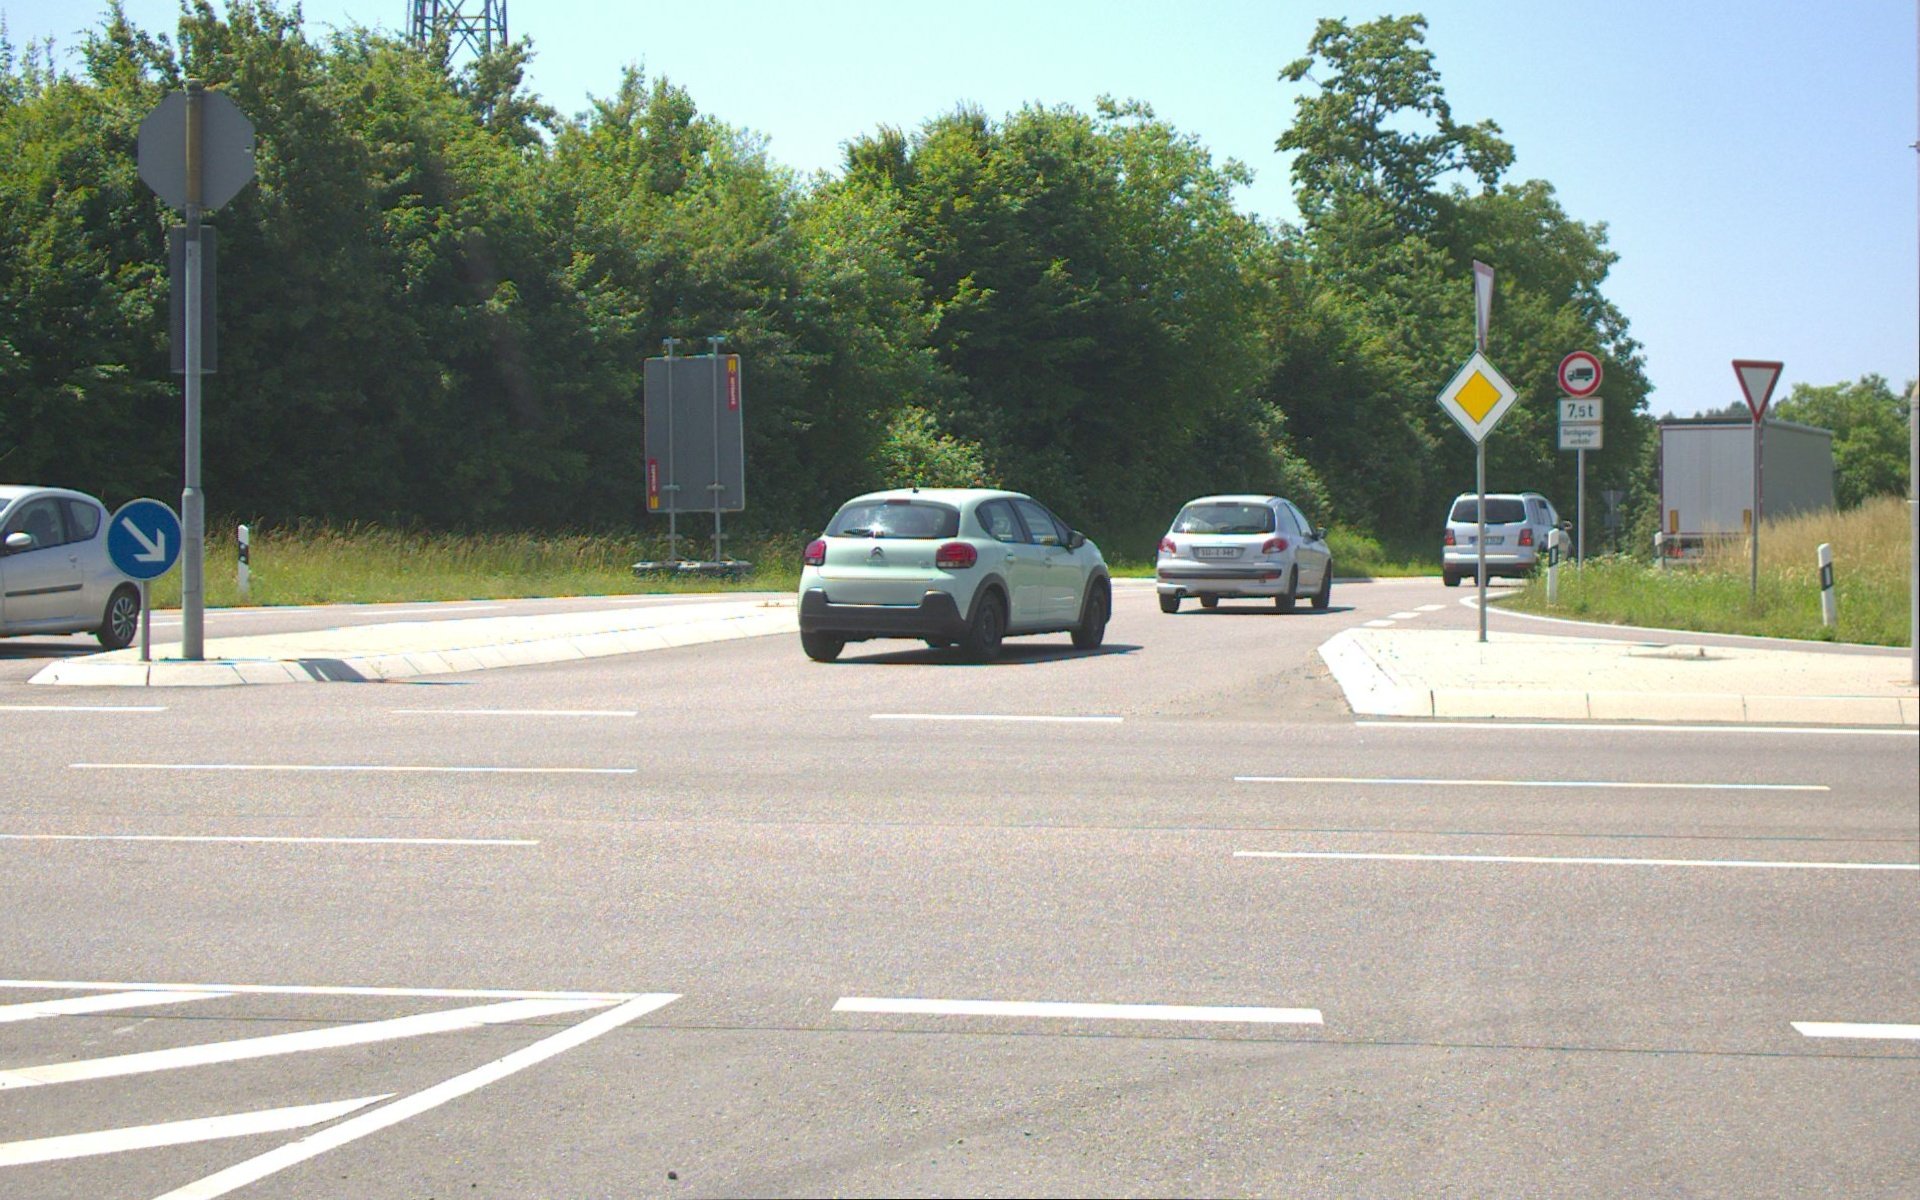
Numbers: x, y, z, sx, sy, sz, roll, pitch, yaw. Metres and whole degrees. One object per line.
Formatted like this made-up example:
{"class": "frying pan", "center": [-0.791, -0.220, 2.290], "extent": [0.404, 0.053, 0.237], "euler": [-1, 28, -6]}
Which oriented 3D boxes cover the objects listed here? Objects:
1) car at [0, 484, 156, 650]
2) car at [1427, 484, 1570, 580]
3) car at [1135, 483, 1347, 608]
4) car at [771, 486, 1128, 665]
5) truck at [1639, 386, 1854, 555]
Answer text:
{"class": "car", "center": [-8.631, -0.306, 29.975], "extent": [1.566, 1.366, 3.528], "euler": [1, 3, 18]}
{"class": "car", "center": [9.701, -1.243, 61.694], "extent": [1.814, 1.619, 4.056], "euler": [0, 3, 20]}
{"class": "car", "center": [3.502, -0.709, 42.280], "extent": [1.814, 1.408, 3.781], "euler": [1, 3, 17]}
{"class": "car", "center": [-0.017, -0.272, 30.490], "extent": [1.731, 1.399, 3.982], "euler": [2, 3, 22]}
{"class": "truck", "center": [21.501, -3.386, 93.018], "extent": [3.129, 4.158, 16.668], "euler": [1, 2, 22]}
